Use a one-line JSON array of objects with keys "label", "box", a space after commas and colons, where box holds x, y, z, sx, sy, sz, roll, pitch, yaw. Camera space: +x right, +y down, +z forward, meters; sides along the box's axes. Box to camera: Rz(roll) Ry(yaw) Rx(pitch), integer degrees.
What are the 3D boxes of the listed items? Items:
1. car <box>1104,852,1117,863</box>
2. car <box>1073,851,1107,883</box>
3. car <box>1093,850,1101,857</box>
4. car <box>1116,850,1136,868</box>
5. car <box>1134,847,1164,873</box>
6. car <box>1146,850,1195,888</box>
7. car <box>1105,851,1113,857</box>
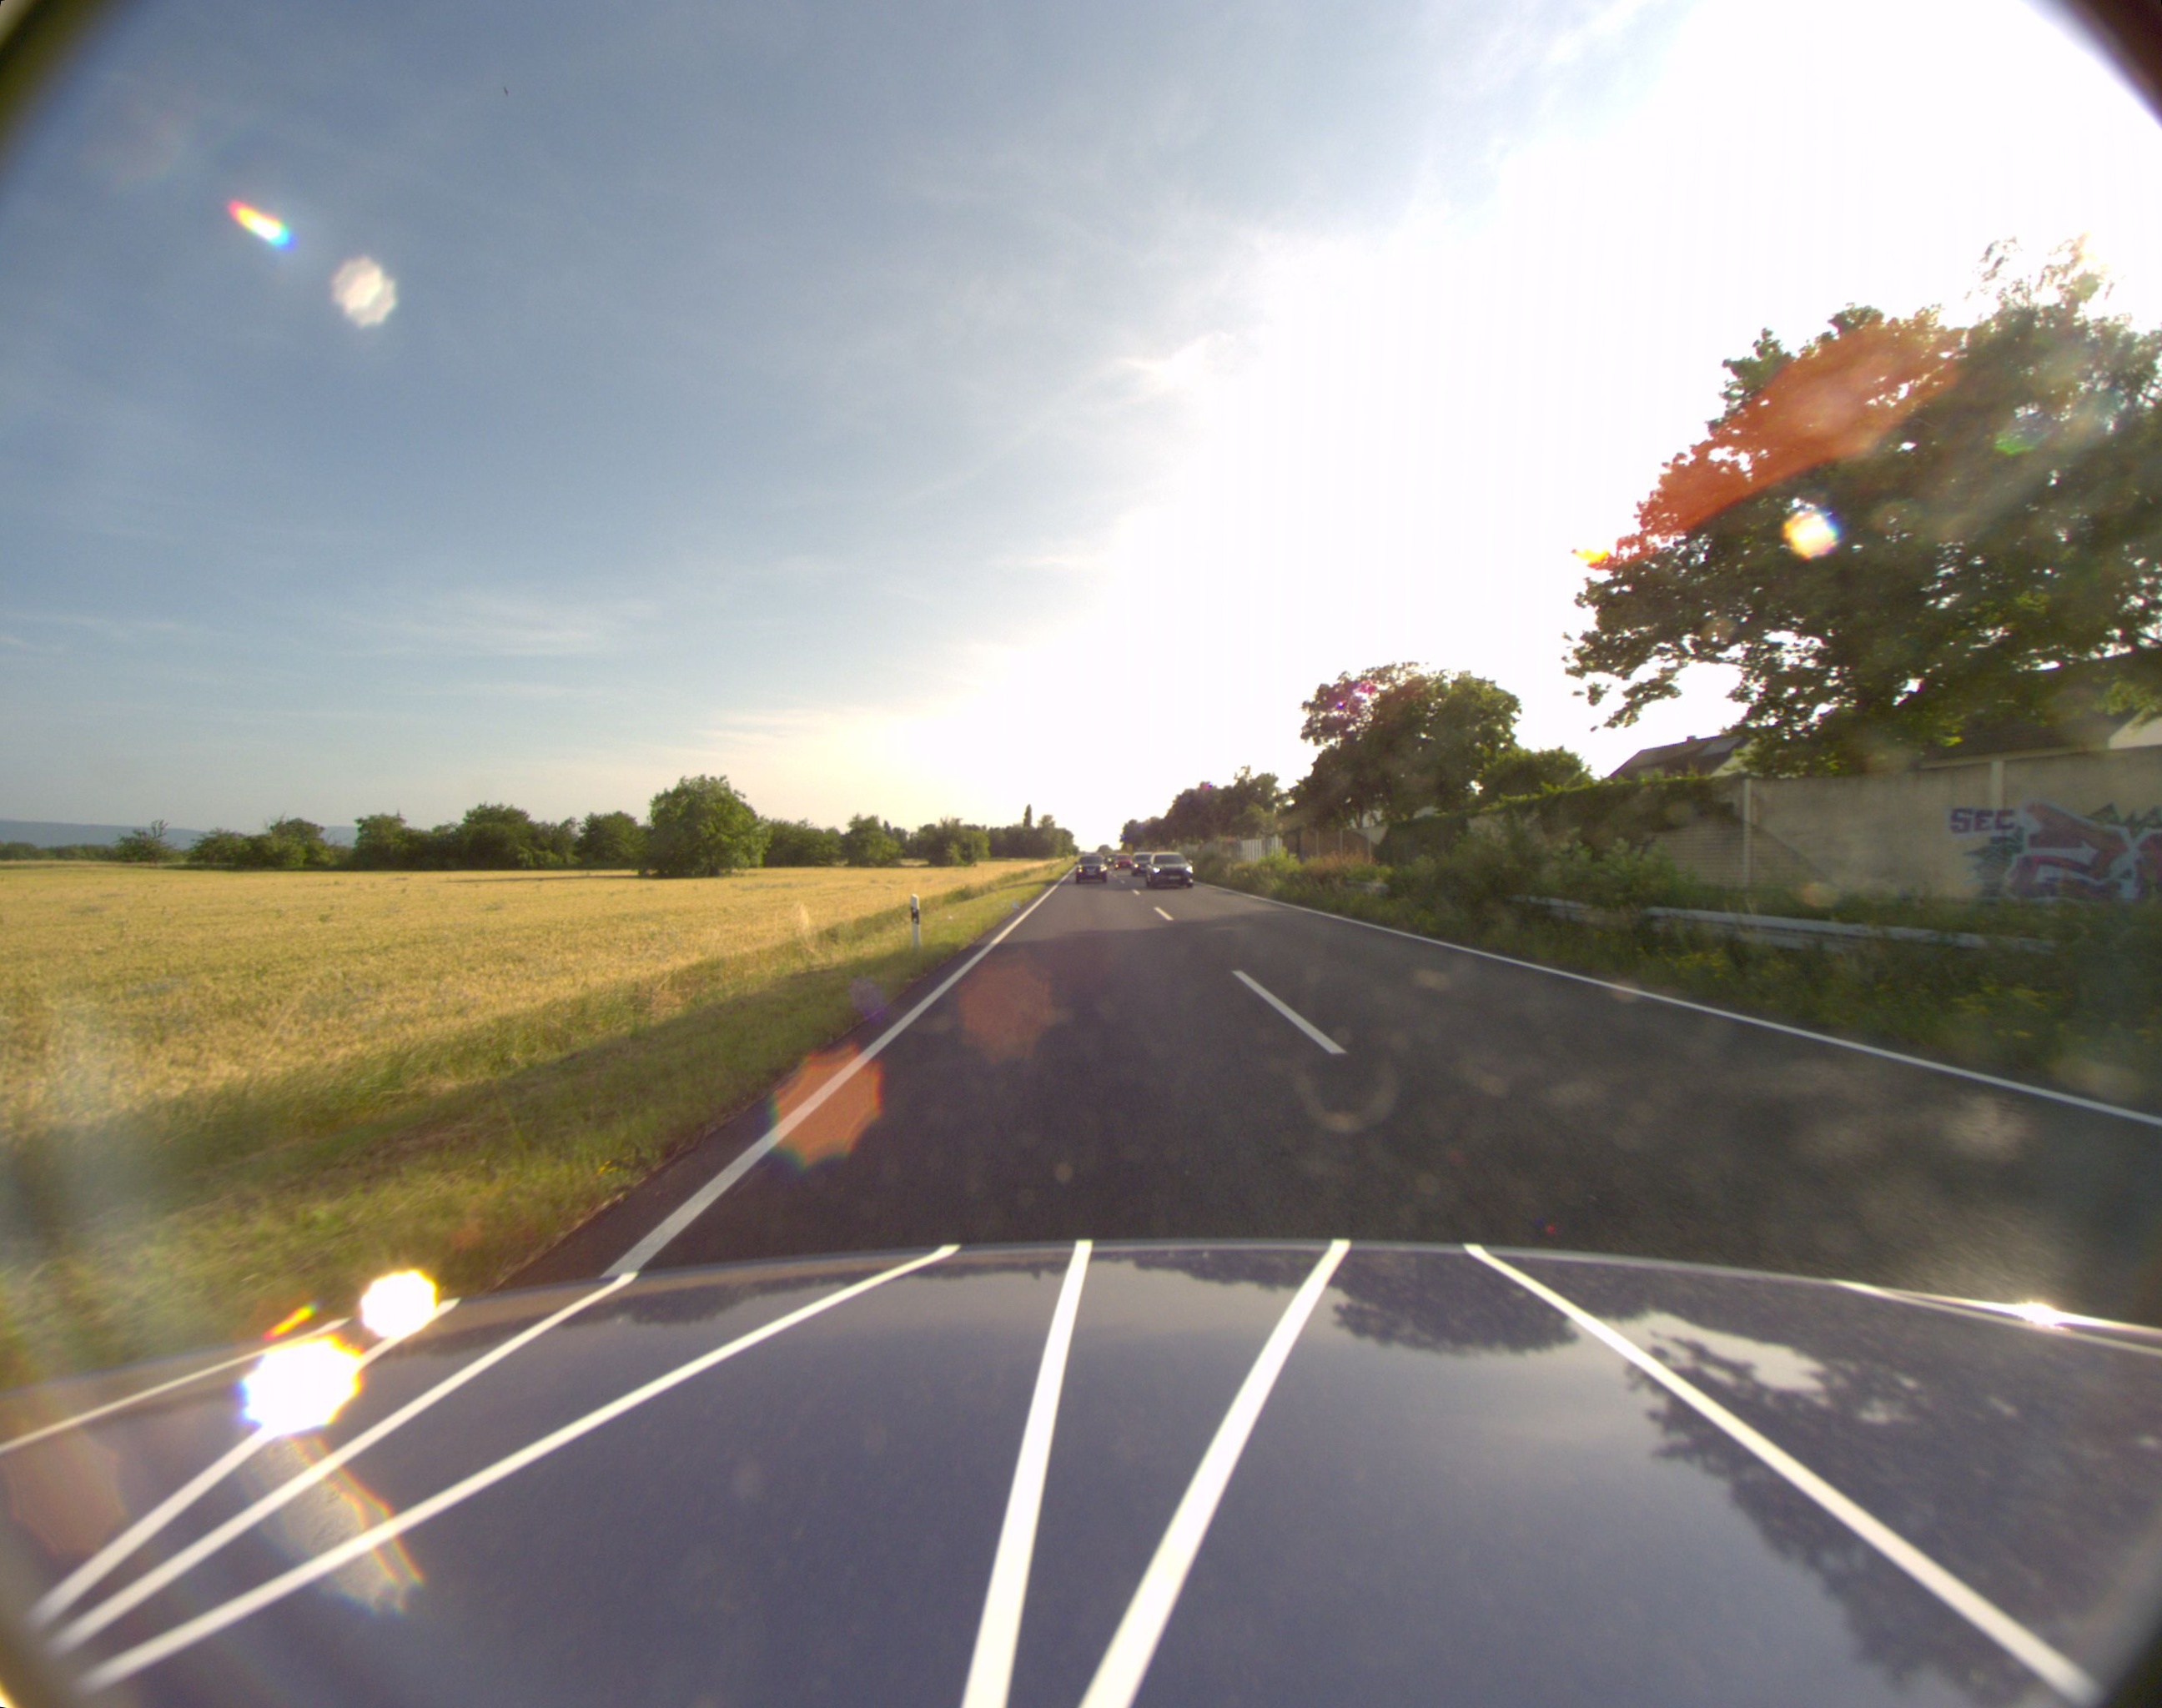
[{"label": "car", "box": [4.126, 0.461, 105.807, 1.700, 1.456, 3.646, -2, 1, 1]}, {"label": "car", "box": [0.527, 0.733, 43.908, 1.822, 1.661, 3.999, -2, 1, 1]}, {"label": "car", "box": [3.924, -0.048, 190.697, 1.854, 1.641, 3.999, -2, 1, 0]}, {"label": "car", "box": [4.483, 0.526, 76.816, 1.822, 1.661, 4.000, -2, 1, 1]}, {"label": "car", "box": [4.853, 0.421, 54.843, 1.822, 1.724, 4.000, -2, 1, 2]}, {"label": "car", "box": [4.067, 0.642, 35.103, 1.821, 1.516, 4.246, -2, 1, 1]}, {"label": "car", "box": [6.188, -0.004, 170.128, 1.693, 1.397, 3.999, -2, 1, 1]}]
